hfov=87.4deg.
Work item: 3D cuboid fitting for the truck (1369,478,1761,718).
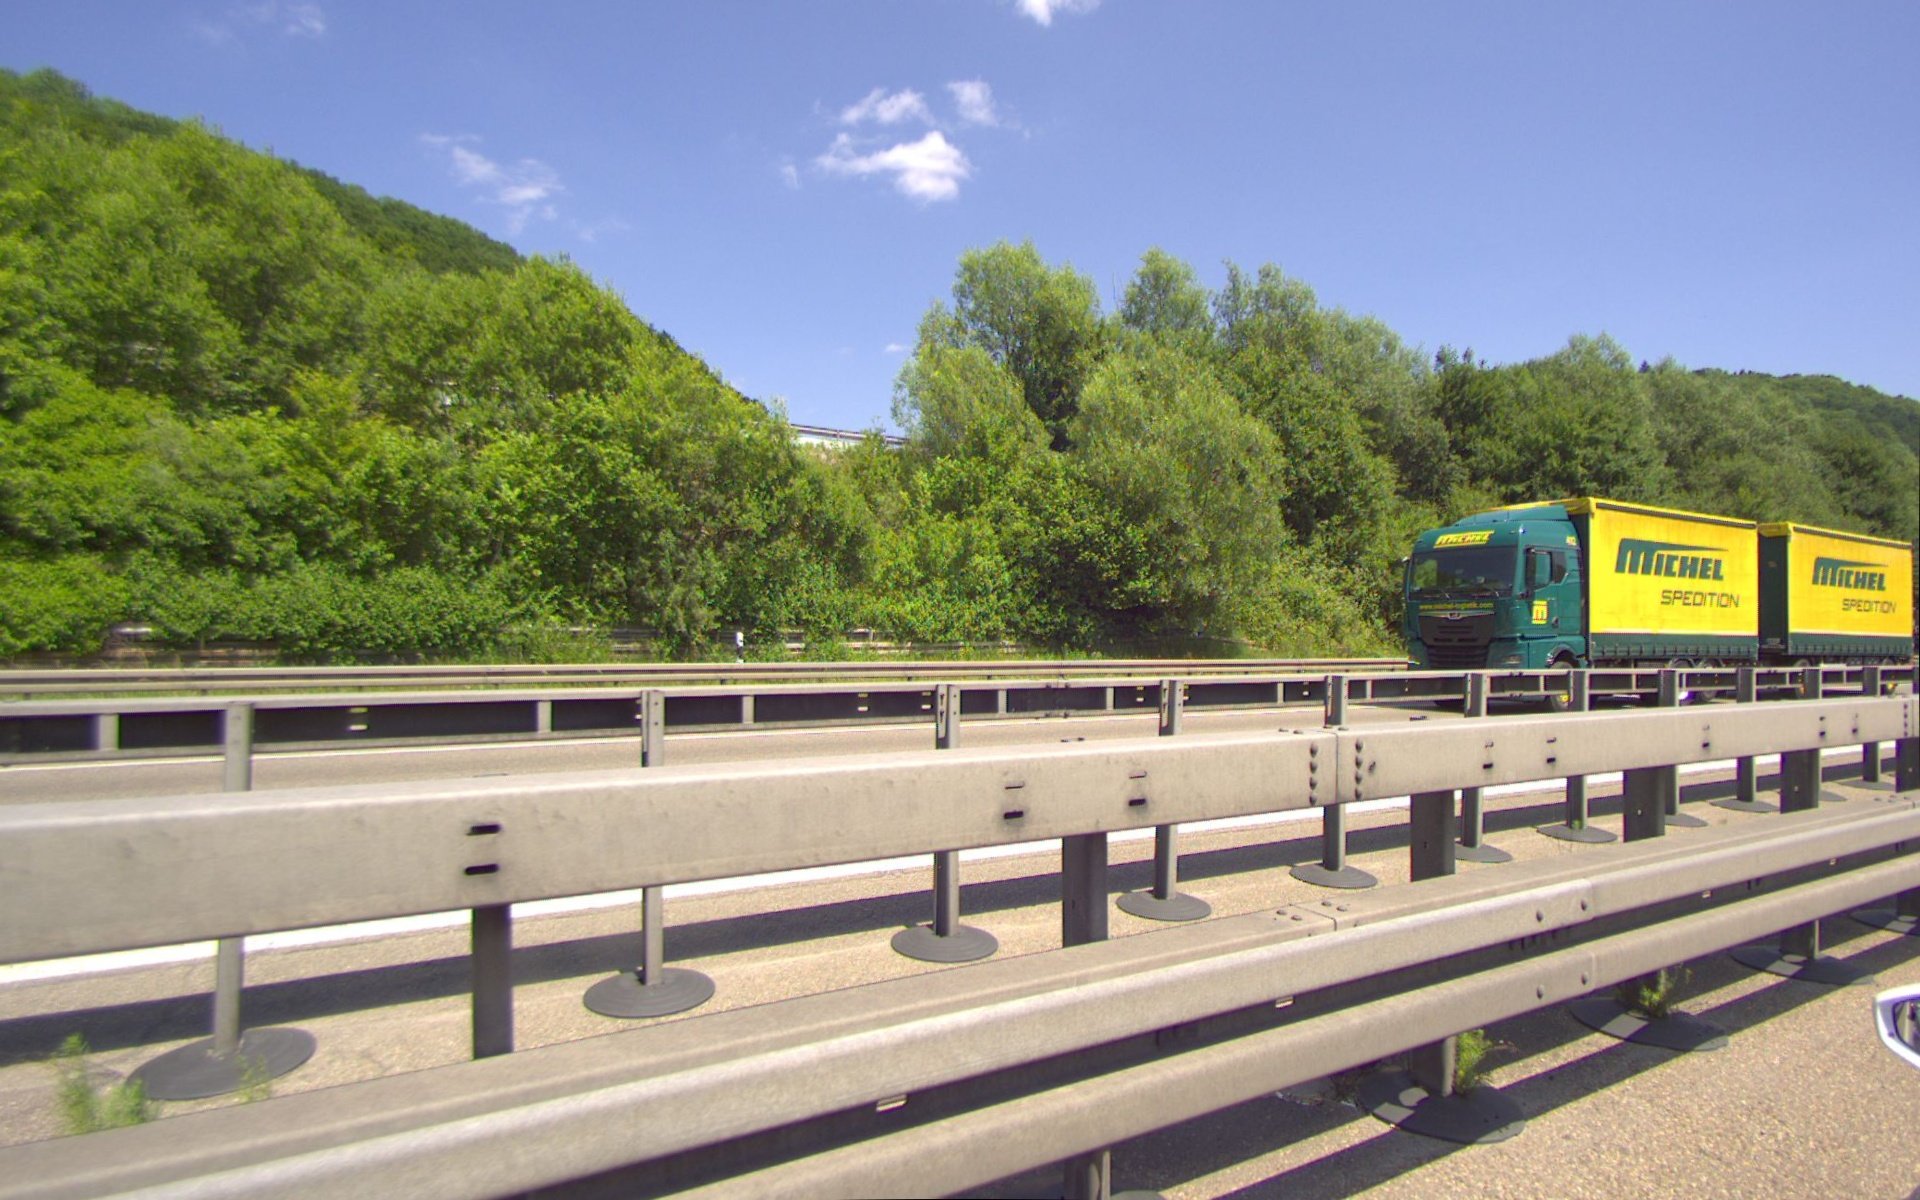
[{"bbox_3d":[12.999,0.092,21.202,9.501,4.202,2.813,2,0,-30],"label":"truck"}]

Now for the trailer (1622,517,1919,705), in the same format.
[{"bbox_3d":[21.557,0.375,26.198,10.282,4.202,2.813,2,0,-30],"label":"trailer"}]
